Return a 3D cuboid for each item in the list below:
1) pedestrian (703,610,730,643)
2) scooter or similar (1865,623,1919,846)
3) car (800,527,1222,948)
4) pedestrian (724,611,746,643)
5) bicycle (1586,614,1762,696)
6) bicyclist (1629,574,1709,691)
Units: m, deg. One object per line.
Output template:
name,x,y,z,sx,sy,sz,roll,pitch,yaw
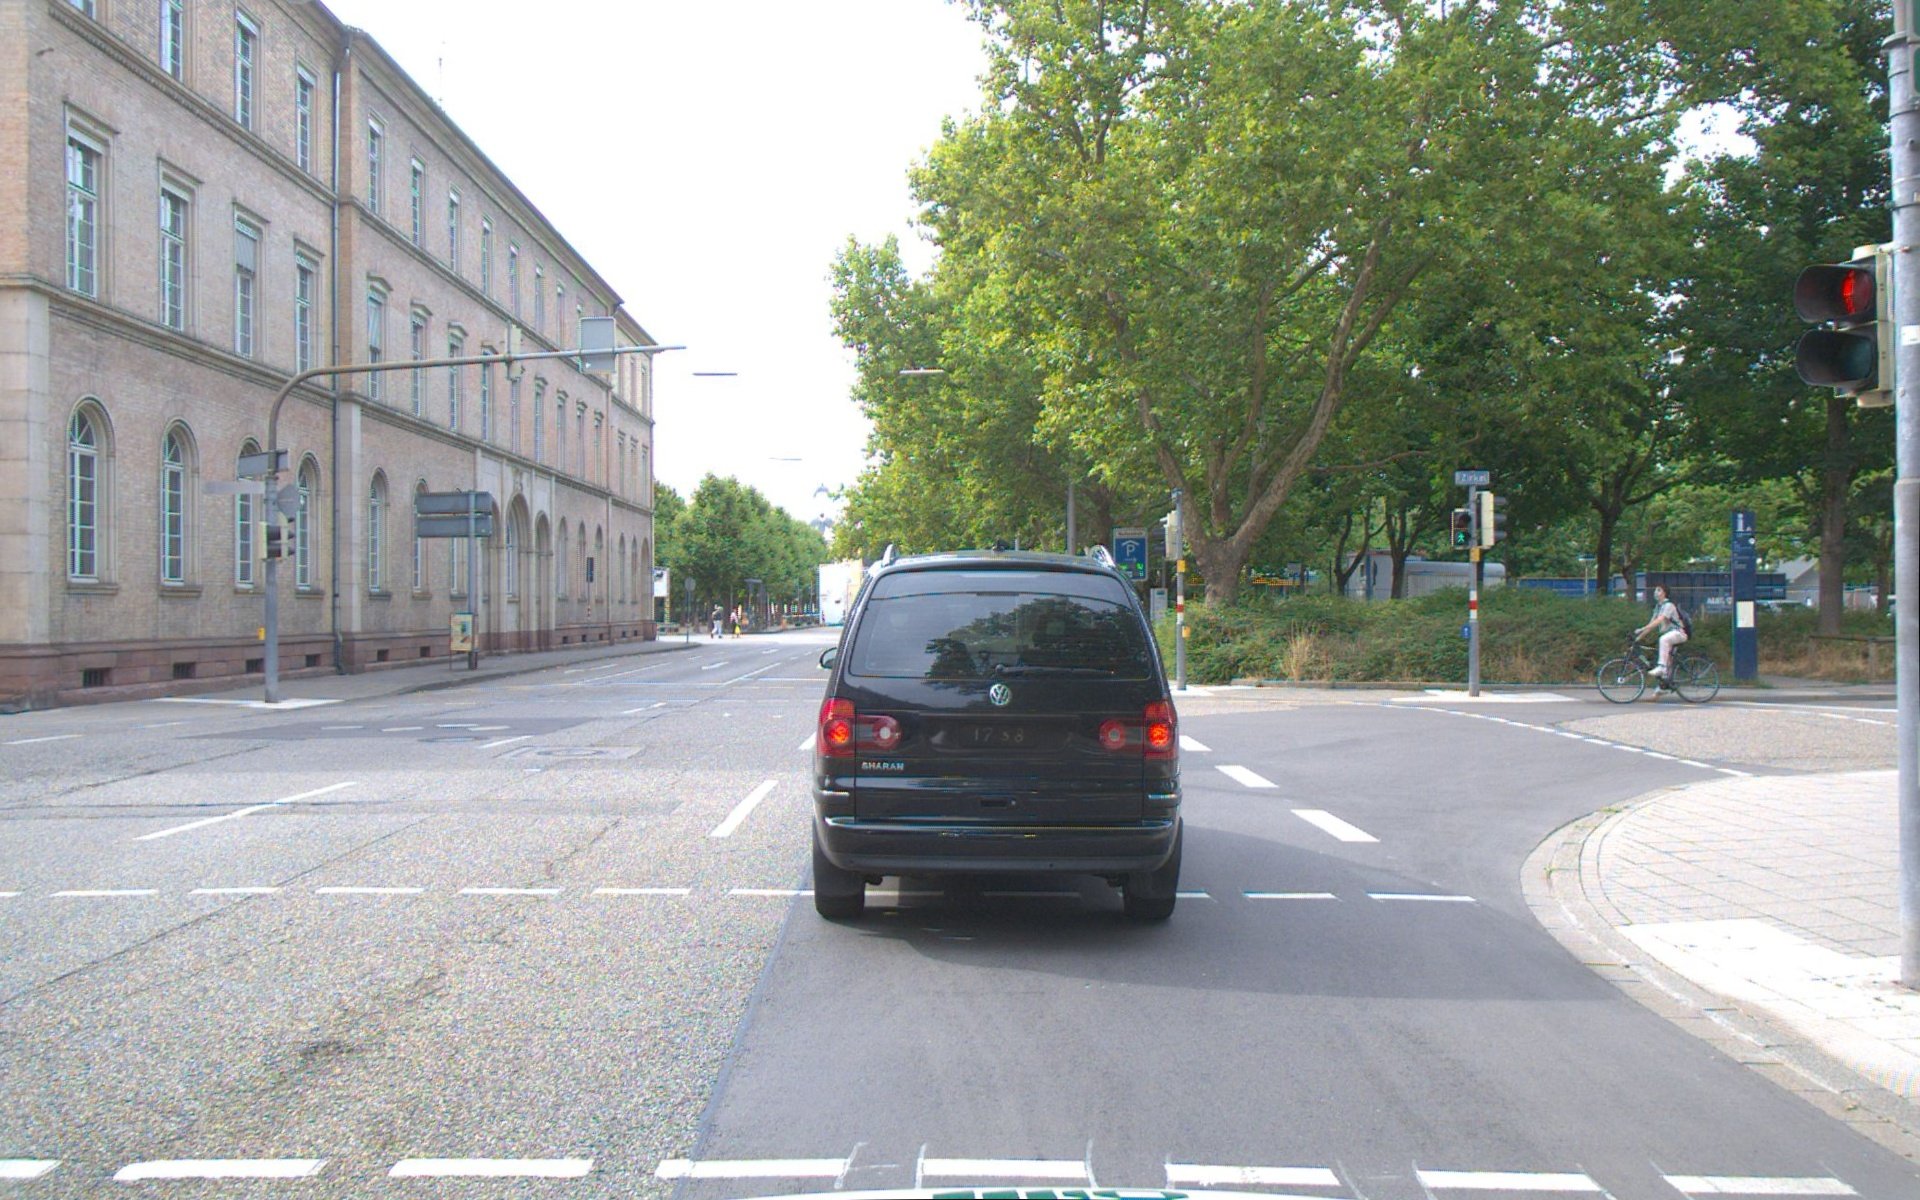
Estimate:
pedestrian,-13.124,1.427,89.194,0.940,1.772,1.256,1,-1,17
scooter or similar,5.889,0.730,9.357,1.279,1.230,0.344,-2,-1,3
car,0.155,0.580,8.987,1.757,1.738,4.129,0,0,-2
pedestrian,-12.105,1.440,88.887,0.877,1.670,0.853,1,-1,17
bicycle,10.576,0.818,24.564,2.197,1.193,0.916,0,-2,3
bicyclist,10.523,0.492,24.579,0.812,1.708,0.916,0,-2,3
